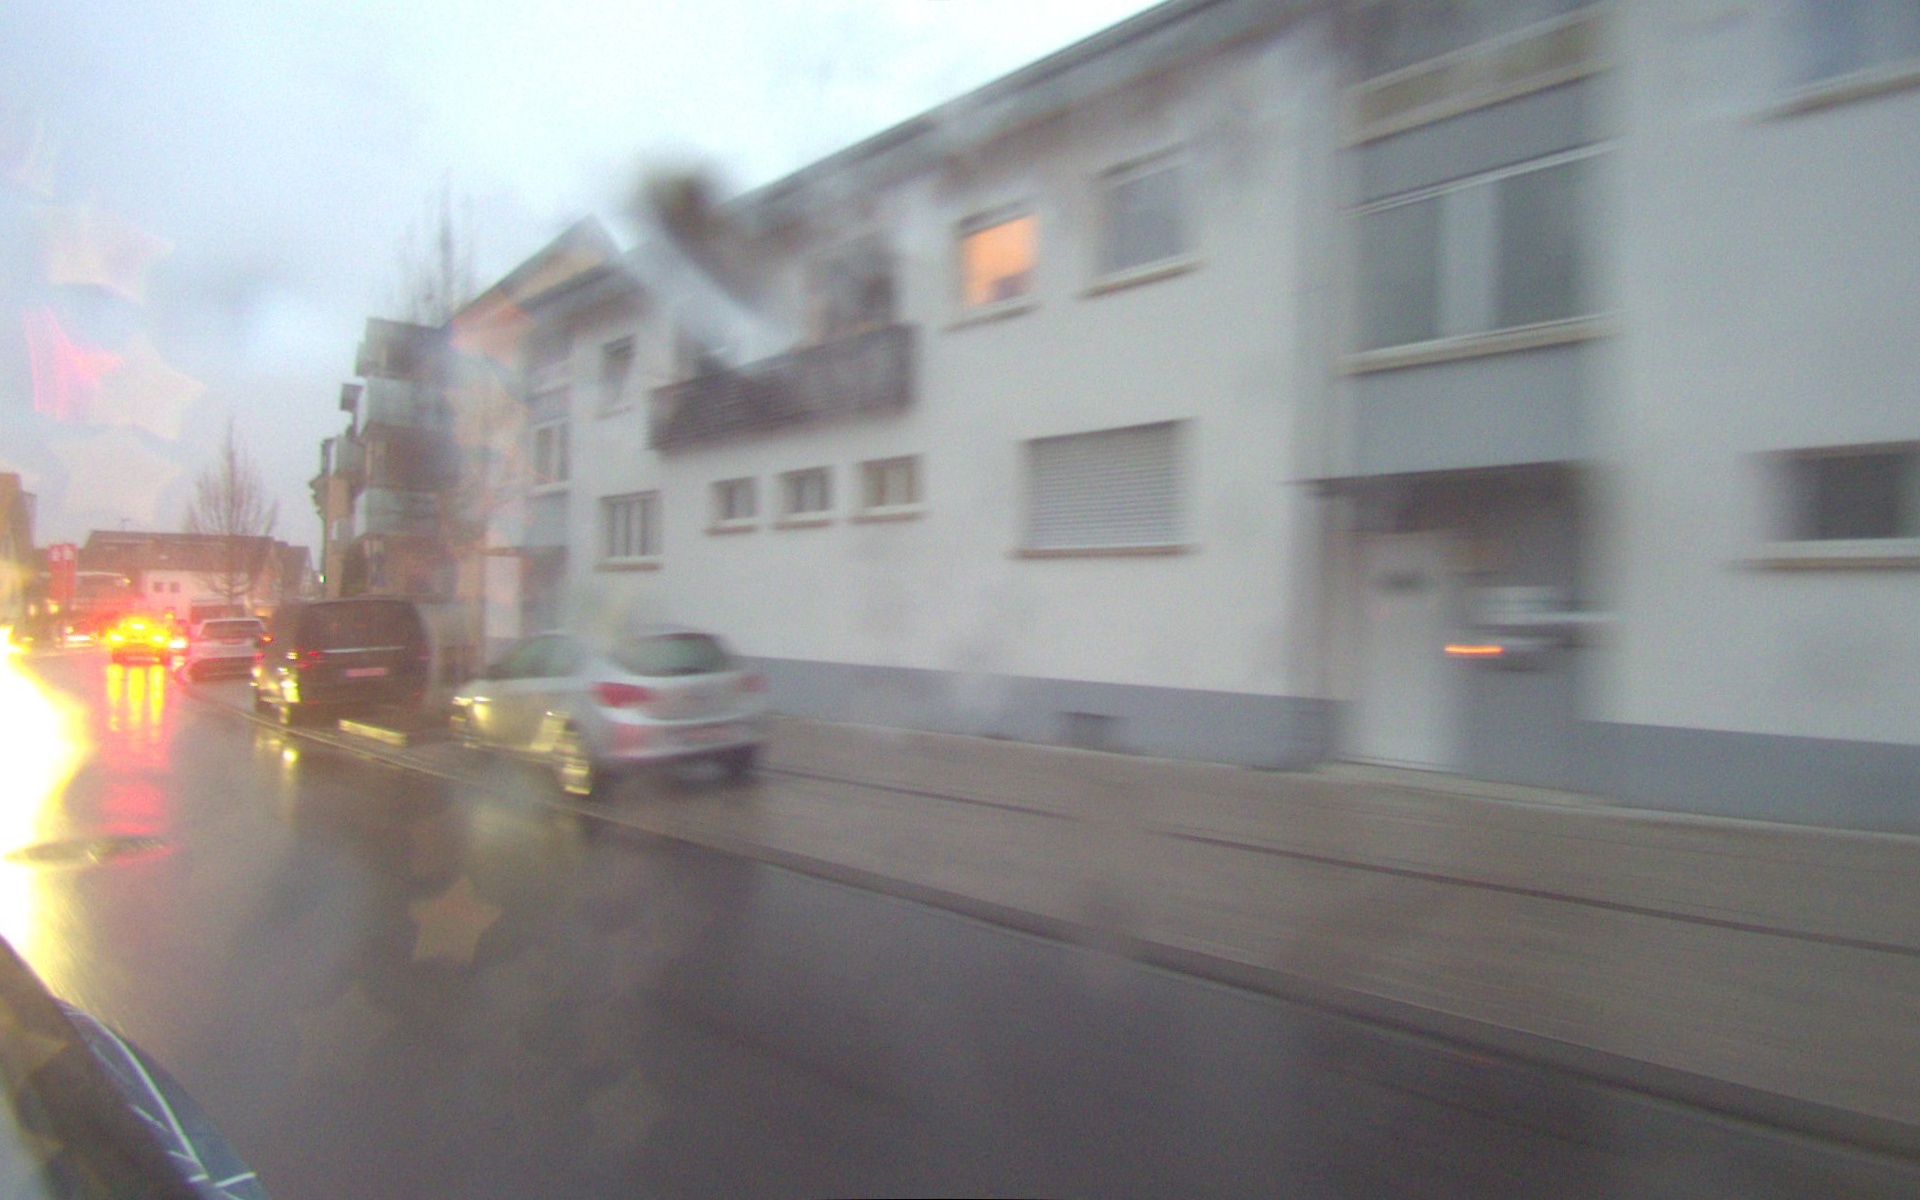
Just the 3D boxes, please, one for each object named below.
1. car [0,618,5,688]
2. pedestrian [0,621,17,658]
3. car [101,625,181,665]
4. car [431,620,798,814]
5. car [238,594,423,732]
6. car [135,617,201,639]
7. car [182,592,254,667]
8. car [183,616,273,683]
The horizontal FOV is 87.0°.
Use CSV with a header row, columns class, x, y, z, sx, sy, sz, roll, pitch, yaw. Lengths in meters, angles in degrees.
class,x,y,z,sx,sy,sz,roll,pitch,yaw
car,-22.378,1.207,22.087,1.850,1.644,4.008,1,-2,-38
pedestrian,-44.547,1.824,47.051,0.641,1.674,0.650,1,-4,0
car,-33.542,1.805,41.557,1.966,1.511,4.012,1,-2,-31
car,-3.635,0.962,10.131,1.773,1.467,4.398,-1,0,-44
car,-10.471,0.951,16.659,1.856,1.914,4.841,-1,-1,-41
car,-66.767,2.358,85.370,3.931,1.660,1.867,3,-4,-18
car,-28.688,1.117,39.262,2.014,2.679,4.221,-2,0,-34
car,-20.766,1.348,28.768,1.909,1.682,4.351,-2,0,-36
